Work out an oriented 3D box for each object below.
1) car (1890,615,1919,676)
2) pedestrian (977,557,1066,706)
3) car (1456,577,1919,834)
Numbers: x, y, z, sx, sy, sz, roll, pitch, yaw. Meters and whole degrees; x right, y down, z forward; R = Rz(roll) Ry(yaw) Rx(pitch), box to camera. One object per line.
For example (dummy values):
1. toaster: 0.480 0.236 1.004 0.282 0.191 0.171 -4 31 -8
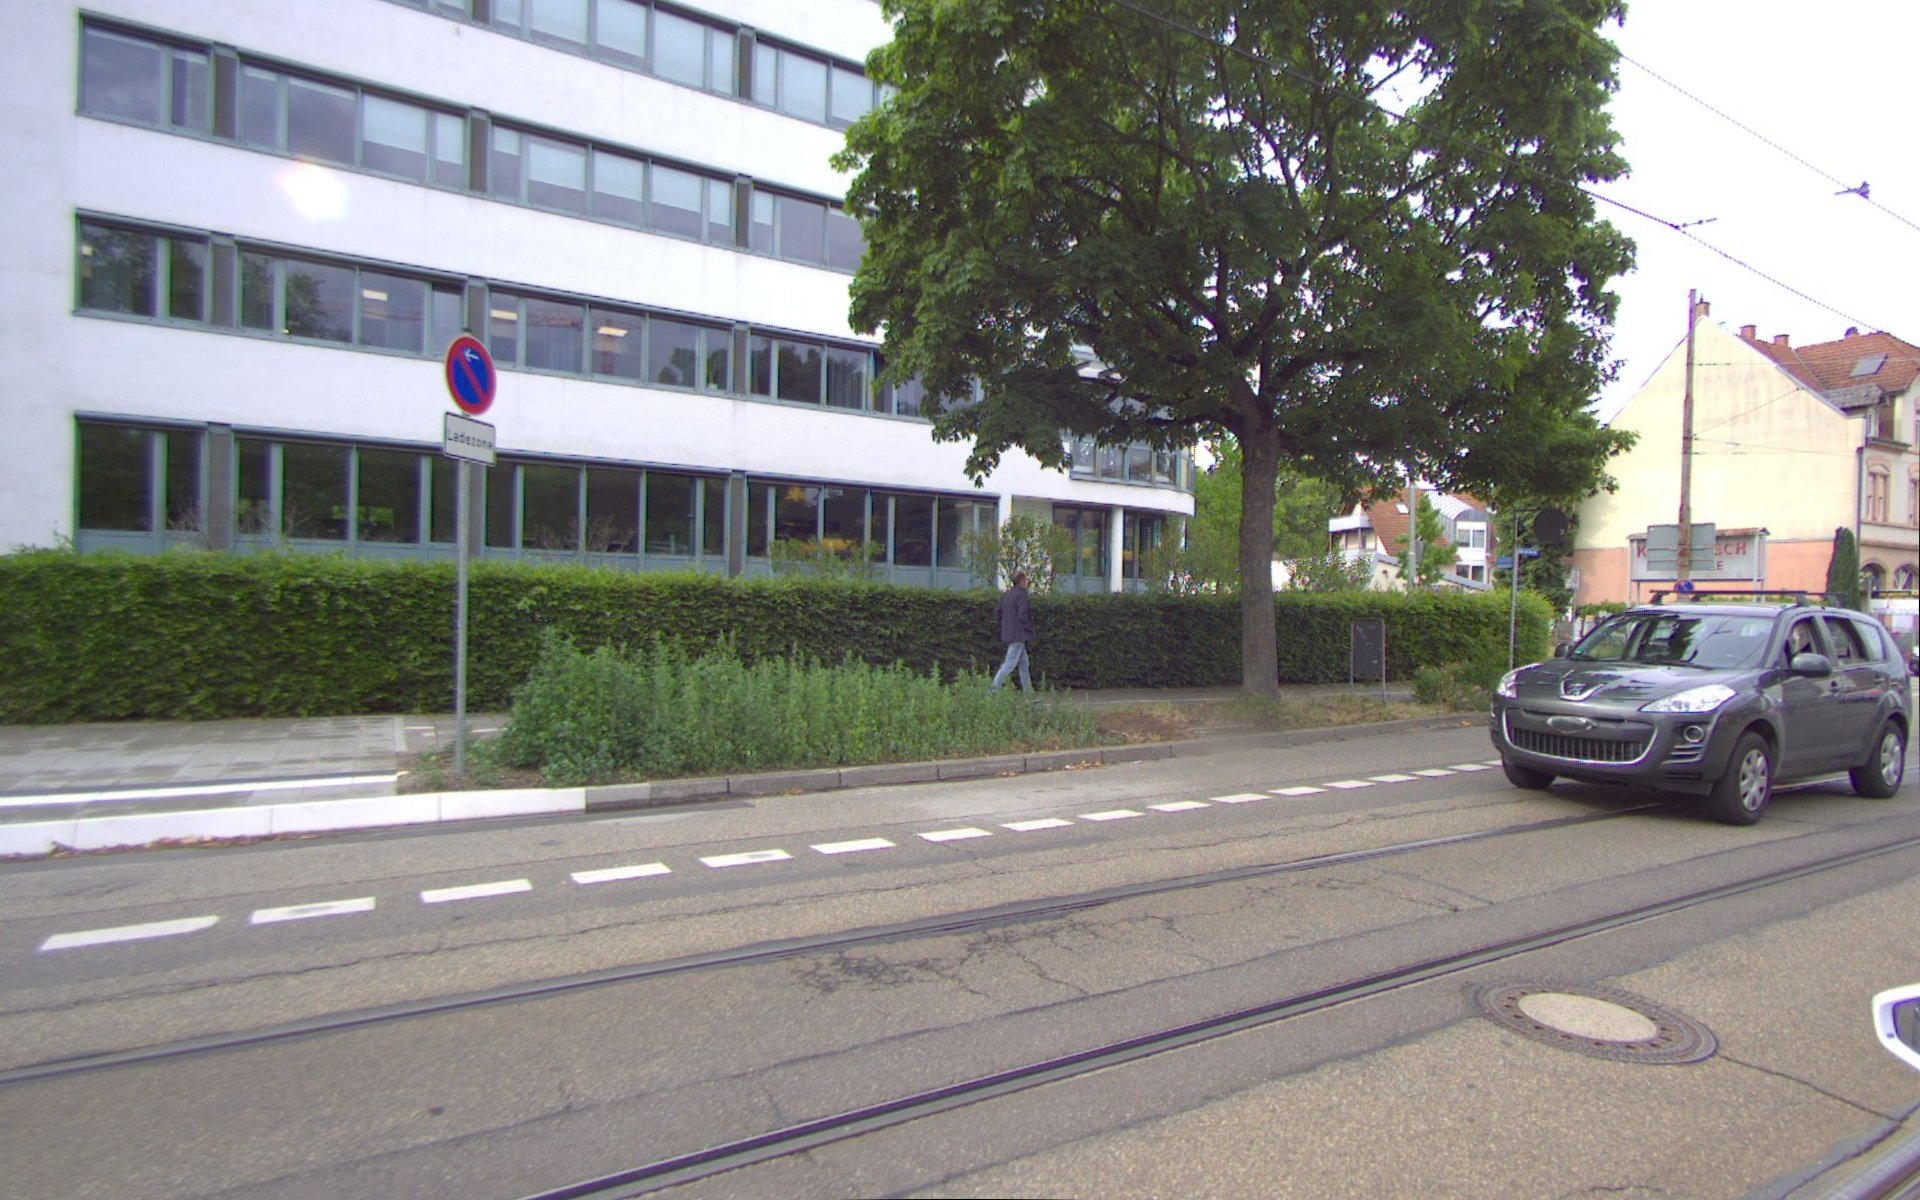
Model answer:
1. car: 32.642 1.530 32.613 4.935 1.912 1.984 2 1 -28
2. pedestrian: 0.866 0.434 14.251 0.977 2.040 0.708 2 1 -23
3. car: 6.492 0.783 8.737 4.283 1.760 1.819 2 -1 -30
